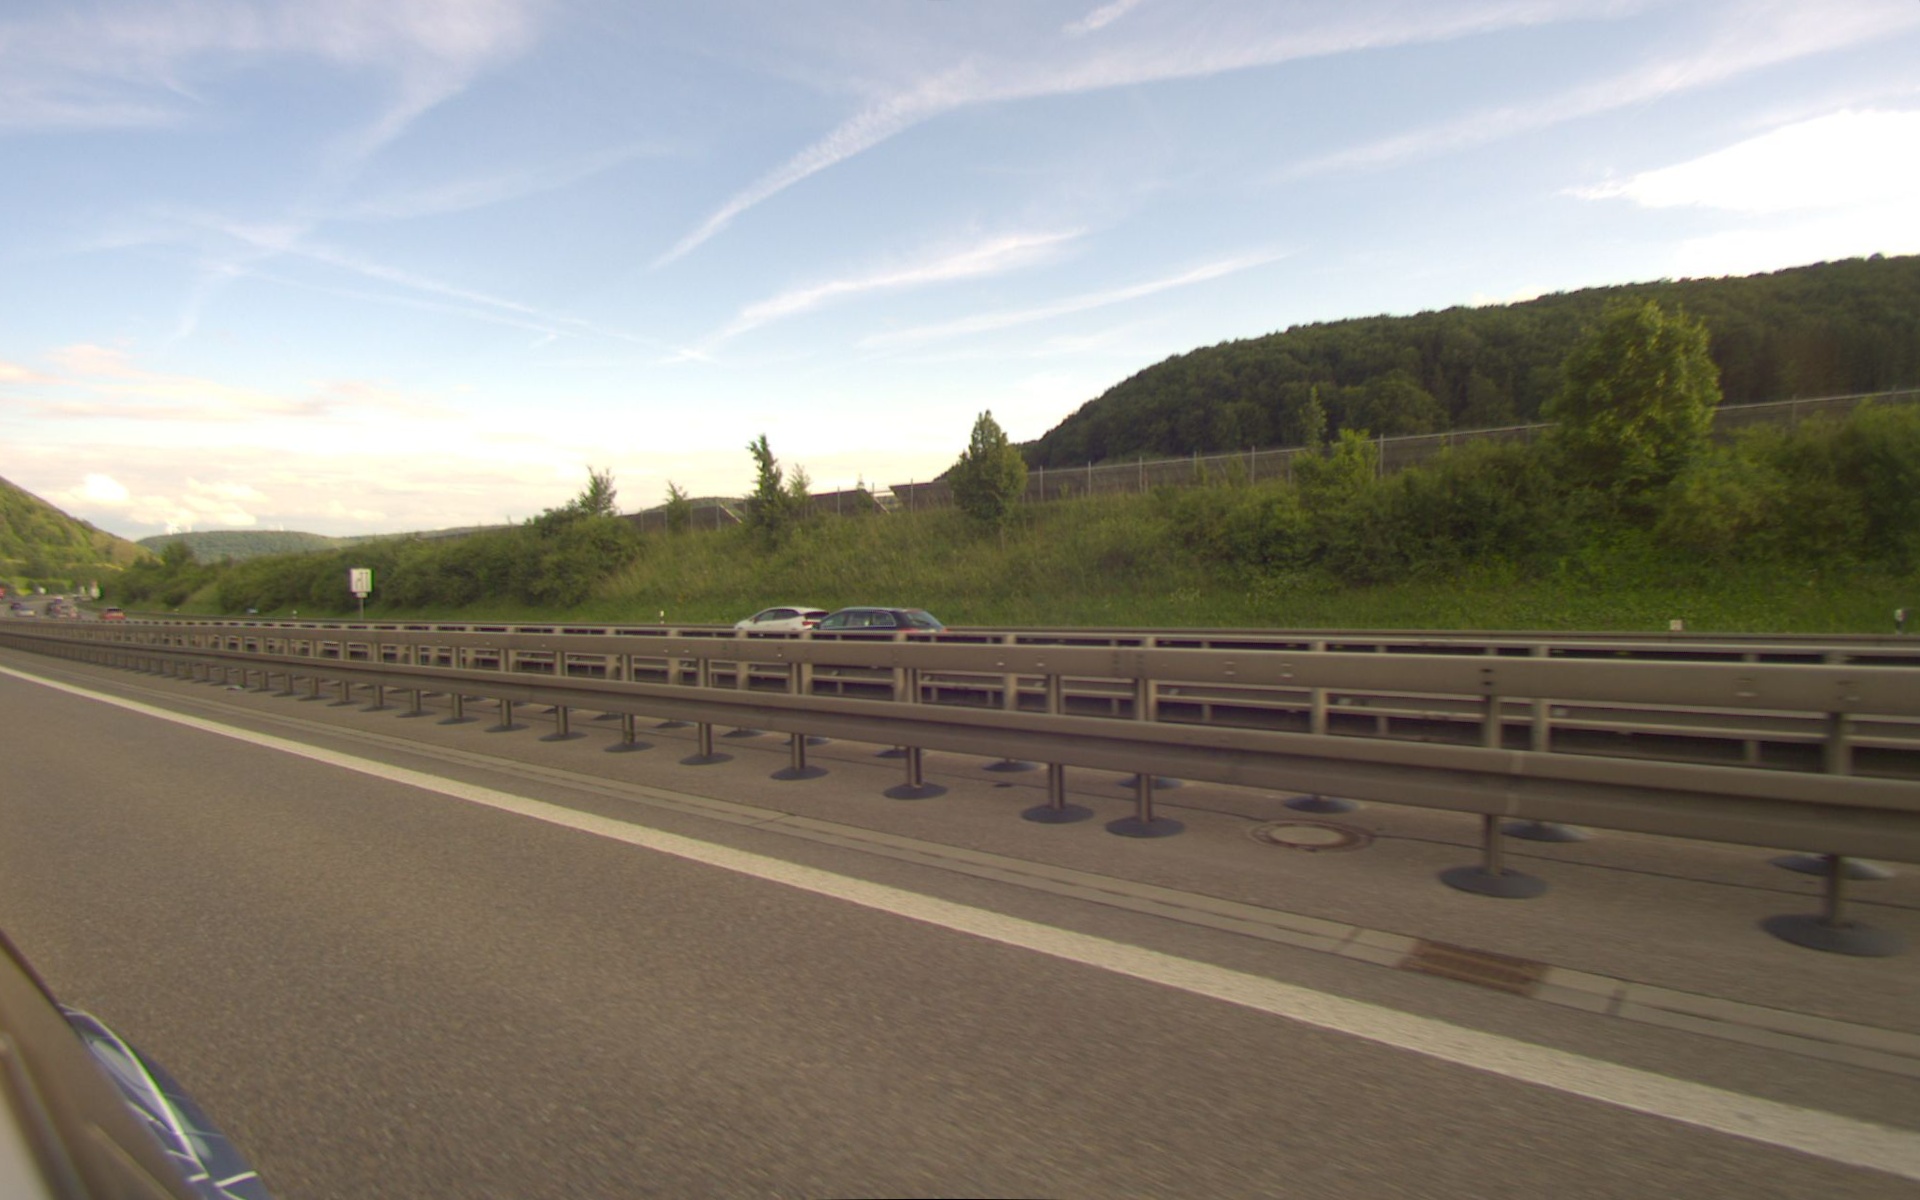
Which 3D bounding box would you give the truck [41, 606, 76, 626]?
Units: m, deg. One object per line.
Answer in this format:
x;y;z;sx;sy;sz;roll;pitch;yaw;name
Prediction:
-77.104;1.365;86.554;1.970;1.606;4.850;2;-2;-44;truck

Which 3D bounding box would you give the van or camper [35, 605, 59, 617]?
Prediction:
-133.746;1.606;148.215;5.451;1.673;1.972;-1;-2;41;van or camper

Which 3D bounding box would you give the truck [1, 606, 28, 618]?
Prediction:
-107.467;1.361;115.013;4.002;1.231;1.971;-1;-2;44;truck

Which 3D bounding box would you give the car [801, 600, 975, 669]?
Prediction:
-1.765;0.784;24.069;4.001;1.497;1.971;-1;-1;44;car

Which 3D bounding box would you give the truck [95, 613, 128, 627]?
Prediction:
-84.079;2.004;100.274;3.945;1.364;1.972;-1;-2;42;truck

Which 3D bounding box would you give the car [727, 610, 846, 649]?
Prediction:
-6.435;1.059;37.444;4.371;1.368;1.744;-1;-1;34;car
